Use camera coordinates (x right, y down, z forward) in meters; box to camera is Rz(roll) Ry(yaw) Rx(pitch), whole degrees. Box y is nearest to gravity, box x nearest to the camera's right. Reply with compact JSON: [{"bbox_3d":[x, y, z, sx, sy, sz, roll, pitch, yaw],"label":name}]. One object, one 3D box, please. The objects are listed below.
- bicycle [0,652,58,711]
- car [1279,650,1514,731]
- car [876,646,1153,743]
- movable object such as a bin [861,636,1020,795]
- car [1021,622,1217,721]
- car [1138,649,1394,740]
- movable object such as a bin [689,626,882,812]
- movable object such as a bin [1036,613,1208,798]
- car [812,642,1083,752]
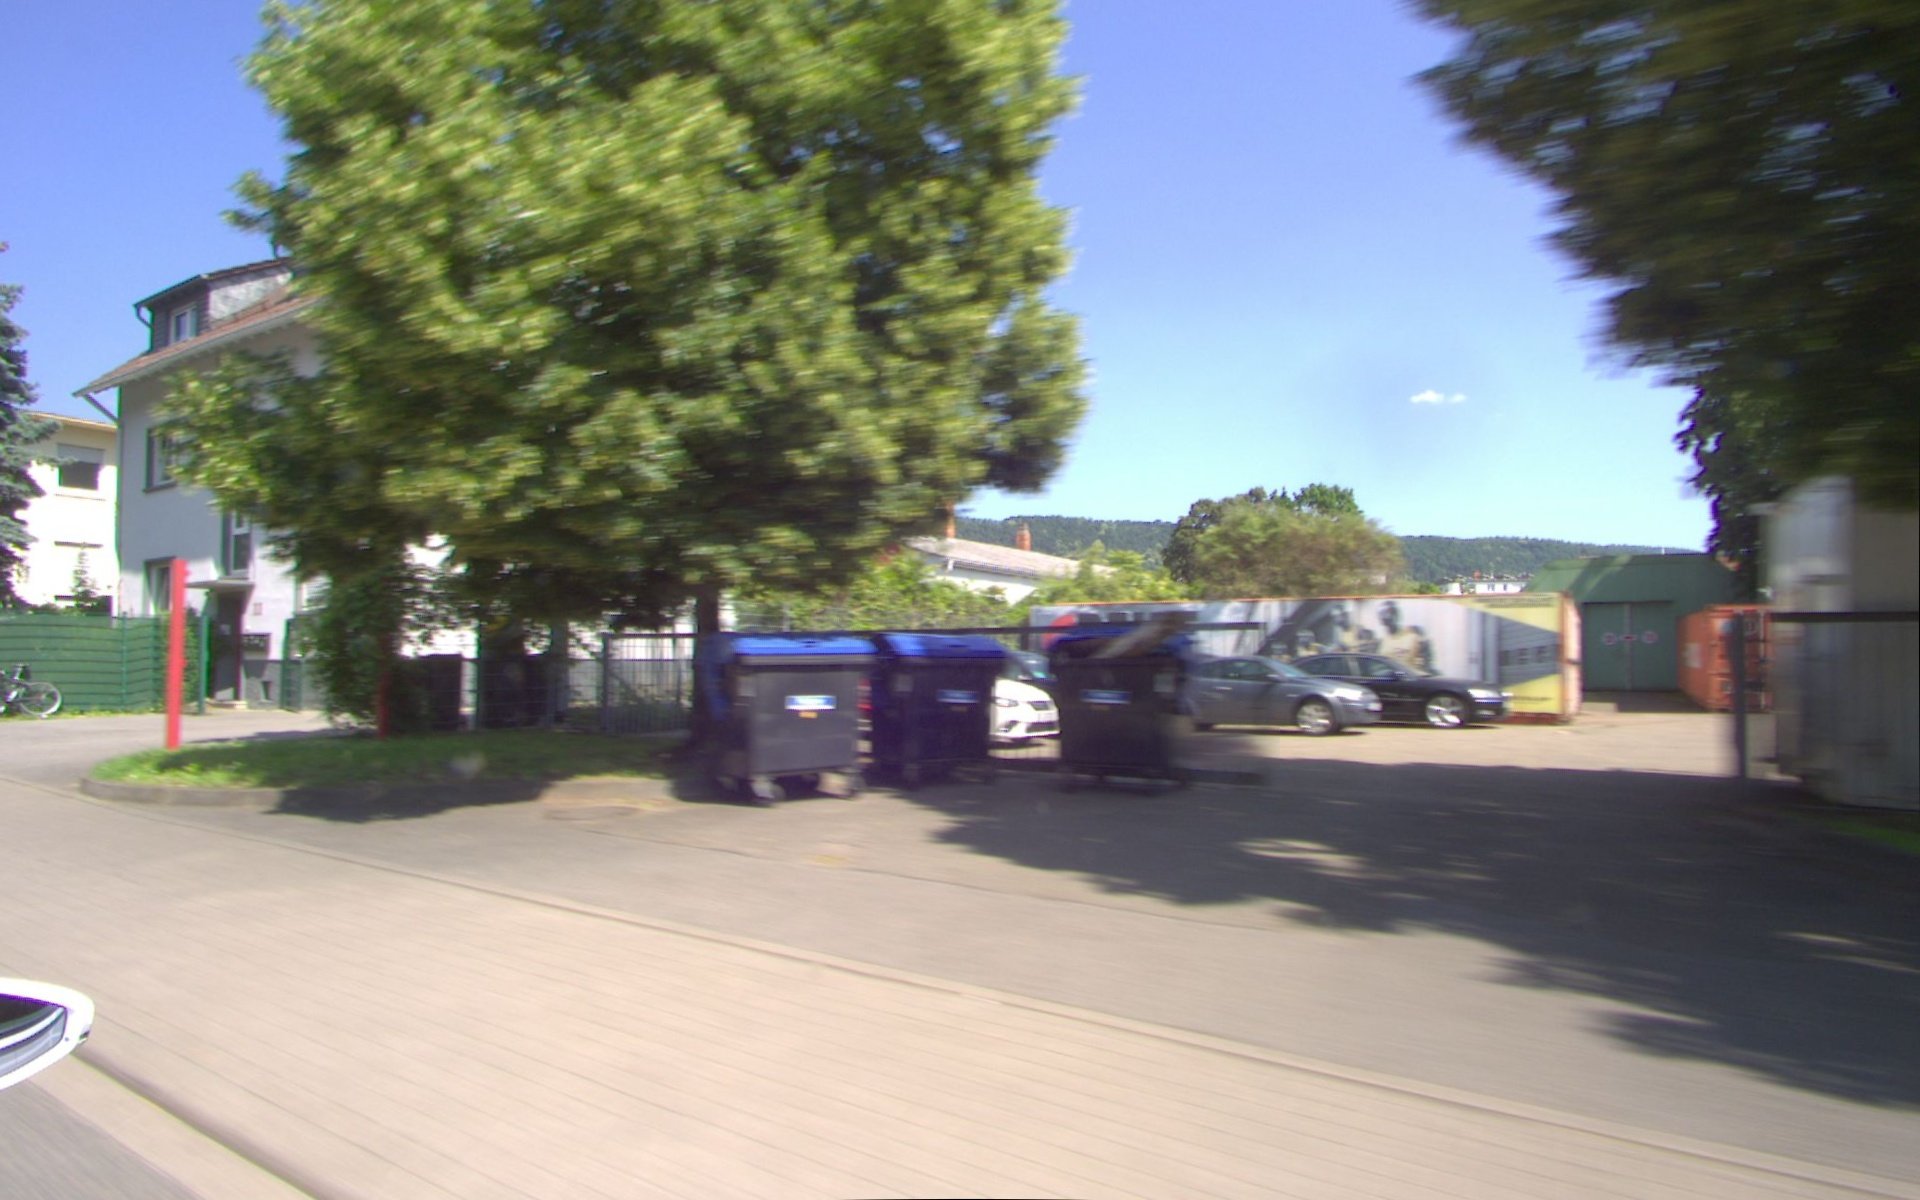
[{"bbox_3d":[-16.556,1.409,17.239,0.382,1.002,1.469,-4,-4,31],"label":"bicycle"},{"bbox_3d":[8.482,1.705,19.560,3.992,1.409,1.713,-2,-3,33],"label":"car"},{"bbox_3d":[0.923,1.615,18.124,4.701,1.396,1.884,0,-1,33],"label":"car"},{"bbox_3d":[-0.194,1.102,9.866,1.303,1.447,0.880,2,-4,-33],"label":"movable object such as a bin"},{"bbox_3d":[3.555,1.539,22.634,3.990,1.947,1.713,1,-1,33],"label":"car"},{"bbox_3d":[5.527,1.633,18.271,4.175,1.478,1.740,-2,-3,33],"label":"car"},{"bbox_3d":[-1.513,0.985,8.643,1.370,1.447,0.985,2,-4,-33],"label":"movable object such as a bin"},{"bbox_3d":[1.503,0.952,9.258,1.301,1.565,0.978,-3,-4,29],"label":"movable object such as a bin"},{"bbox_3d":[-0.235,1.425,15.625,3.944,1.478,1.740,-1,-3,33],"label":"car"}]
